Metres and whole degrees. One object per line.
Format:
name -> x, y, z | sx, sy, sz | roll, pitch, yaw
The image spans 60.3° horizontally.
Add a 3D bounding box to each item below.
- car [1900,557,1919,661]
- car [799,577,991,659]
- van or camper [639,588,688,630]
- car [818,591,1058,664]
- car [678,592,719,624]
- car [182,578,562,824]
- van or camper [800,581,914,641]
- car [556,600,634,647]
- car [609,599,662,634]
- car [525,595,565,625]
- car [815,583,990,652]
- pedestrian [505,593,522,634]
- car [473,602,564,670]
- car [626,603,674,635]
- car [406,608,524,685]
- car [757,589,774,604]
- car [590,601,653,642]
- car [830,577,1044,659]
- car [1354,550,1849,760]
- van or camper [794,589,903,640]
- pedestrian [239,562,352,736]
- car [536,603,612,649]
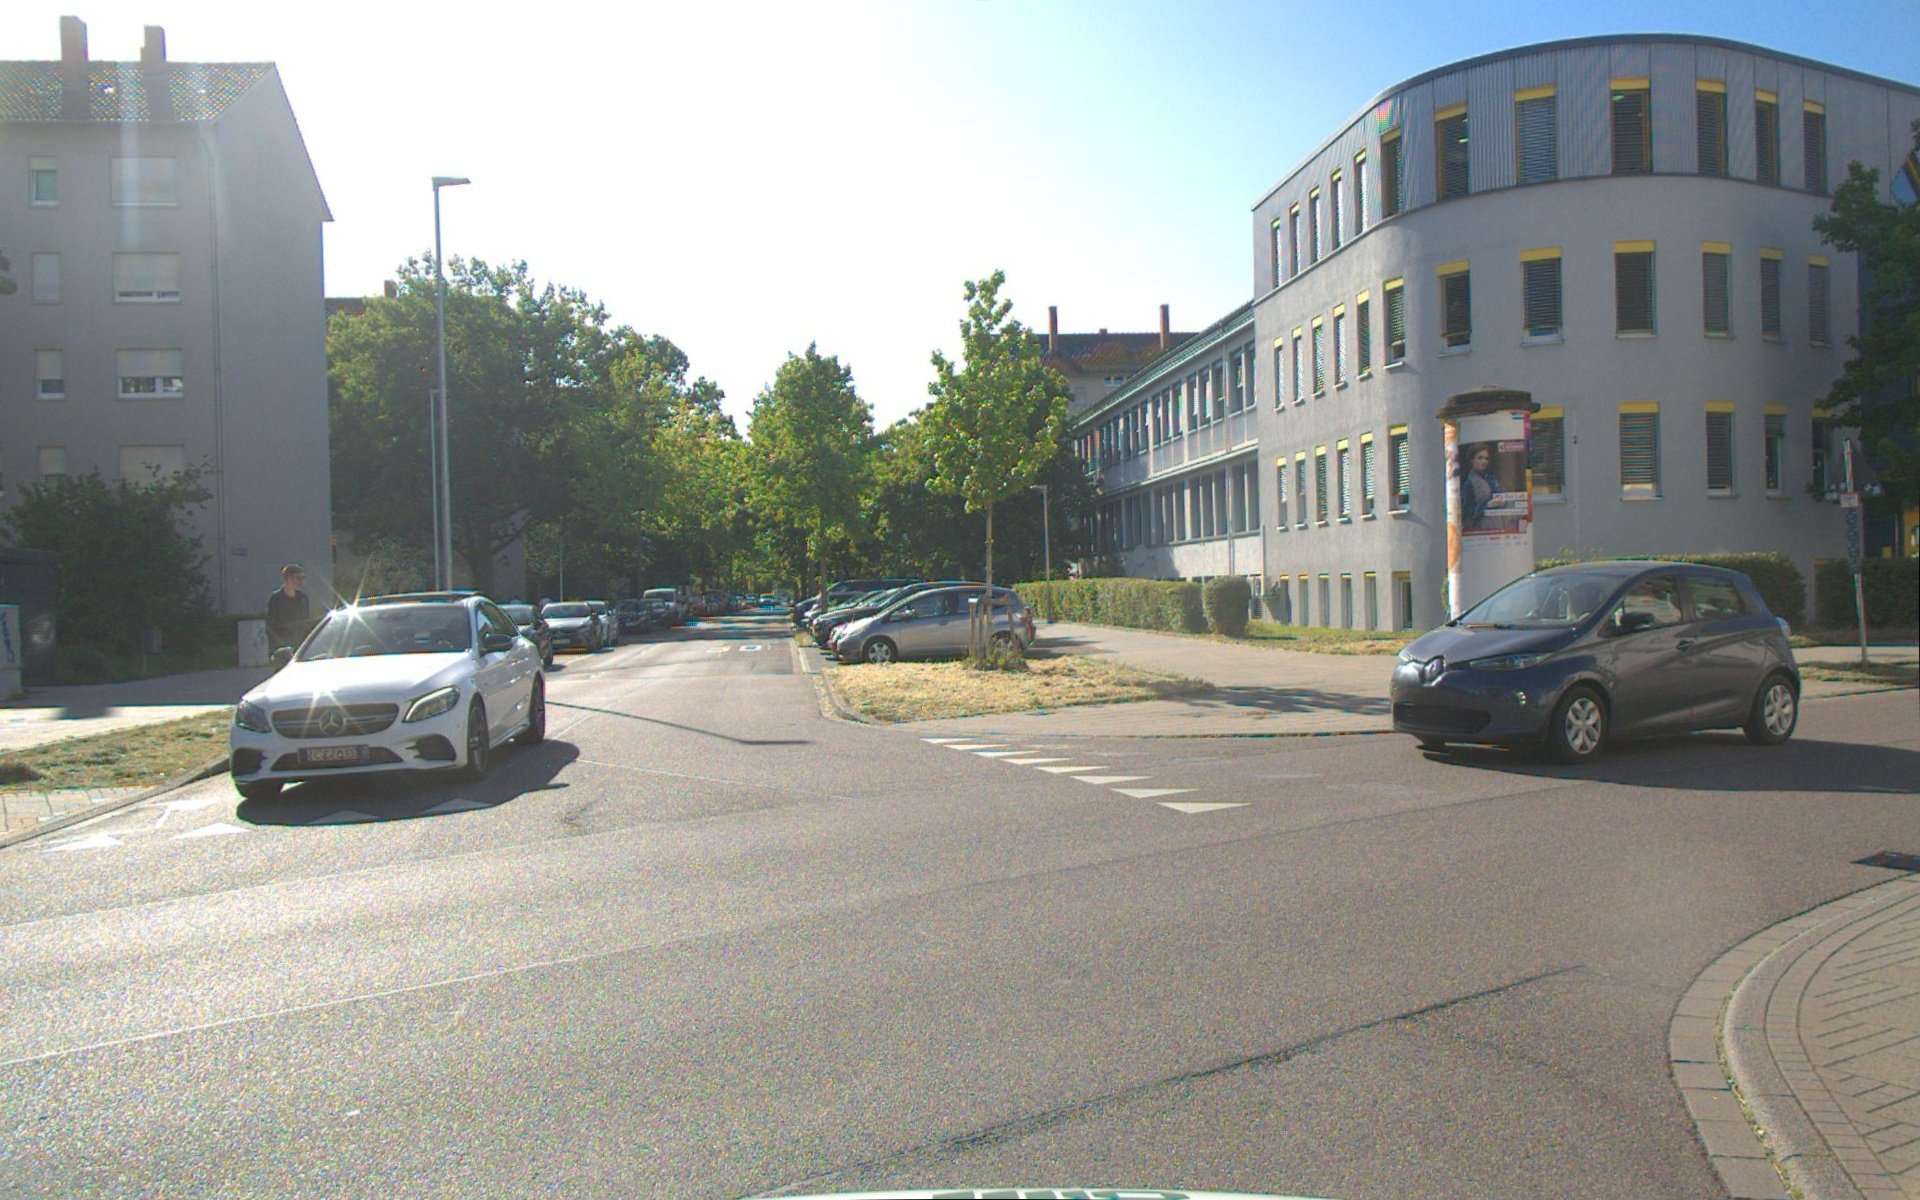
car -> 15.306, 0.071, 23.441 | 4.172, 1.435, 1.774 | -2, 1, -34
car -> -1.514, 0.413, 37.785 | 4.199, 1.795, 1.996 | 1, -1, -9
van or camper -> -14.962, 0.487, 83.666 | 1.954, 2.049, 3.997 | 0, -1, -3
car -> -0.490, 0.566, 34.686 | 4.782, 1.296, 1.724 | -2, 0, -10
car -> -17.516, 0.551, 110.946 | 1.952, 2.049, 4.001 | 0, 0, 2
car -> -4.677, 0.676, 13.937 | 1.849, 1.530, 4.633 | -4, 2, -5
van or camper -> -3.651, 0.403, 58.224 | 3.911, 2.049, 1.997 | 0, -1, -7
car -> -11.842, 0.740, 53.901 | 1.955, 1.422, 3.995 | -1, 0, -5
car -> -13.653, 0.677, 69.757 | 1.956, 1.432, 3.900 | 1, 0, -8
car -> -18.452, 0.438, 73.650 | 1.249, 1.246, 2.661 | -2, 1, -4
car -> -1.451, 0.432, 40.626 | 4.125, 1.624, 1.996 | 0, -1, -8
pedestrian -> -18.981, 0.574, 70.286 | 0.623, 1.693, 0.697 | -2, 0, -12
car -> -10.080, 0.788, 37.994 | 1.379, 1.400, 3.995 | -2, 1, -6
car -> -14.494, 0.895, 77.556 | 1.807, 1.422, 3.995 | -1, 0, -5
car -> -9.849, 0.883, 33.141 | 1.636, 1.445, 3.993 | 0, 0, -8
car -> -23.697, -0.403, 201.756 | 1.955, 1.777, 3.995 | -1, 1, -6
car -> -12.493, 0.787, 61.194 | 1.807, 1.422, 3.995 | -1, 0, -5
car -> -0.496, 0.343, 32.638 | 4.013, 1.518, 1.725 | -1, 0, -9
car -> 5.449, 0.388, 13.932 | 4.084, 1.530, 1.823 | 0, 0, -32
van or camper -> -4.133, 0.543, 60.995 | 3.911, 1.803, 1.997 | 0, -1, -7
pedestrian -> -6.937, 0.495, 17.318 | 0.855, 1.744, 0.977 | -2, 0, -10
car -> -11.162, 0.743, 48.046 | 1.598, 1.255, 4.187 | 0, 0, -6
